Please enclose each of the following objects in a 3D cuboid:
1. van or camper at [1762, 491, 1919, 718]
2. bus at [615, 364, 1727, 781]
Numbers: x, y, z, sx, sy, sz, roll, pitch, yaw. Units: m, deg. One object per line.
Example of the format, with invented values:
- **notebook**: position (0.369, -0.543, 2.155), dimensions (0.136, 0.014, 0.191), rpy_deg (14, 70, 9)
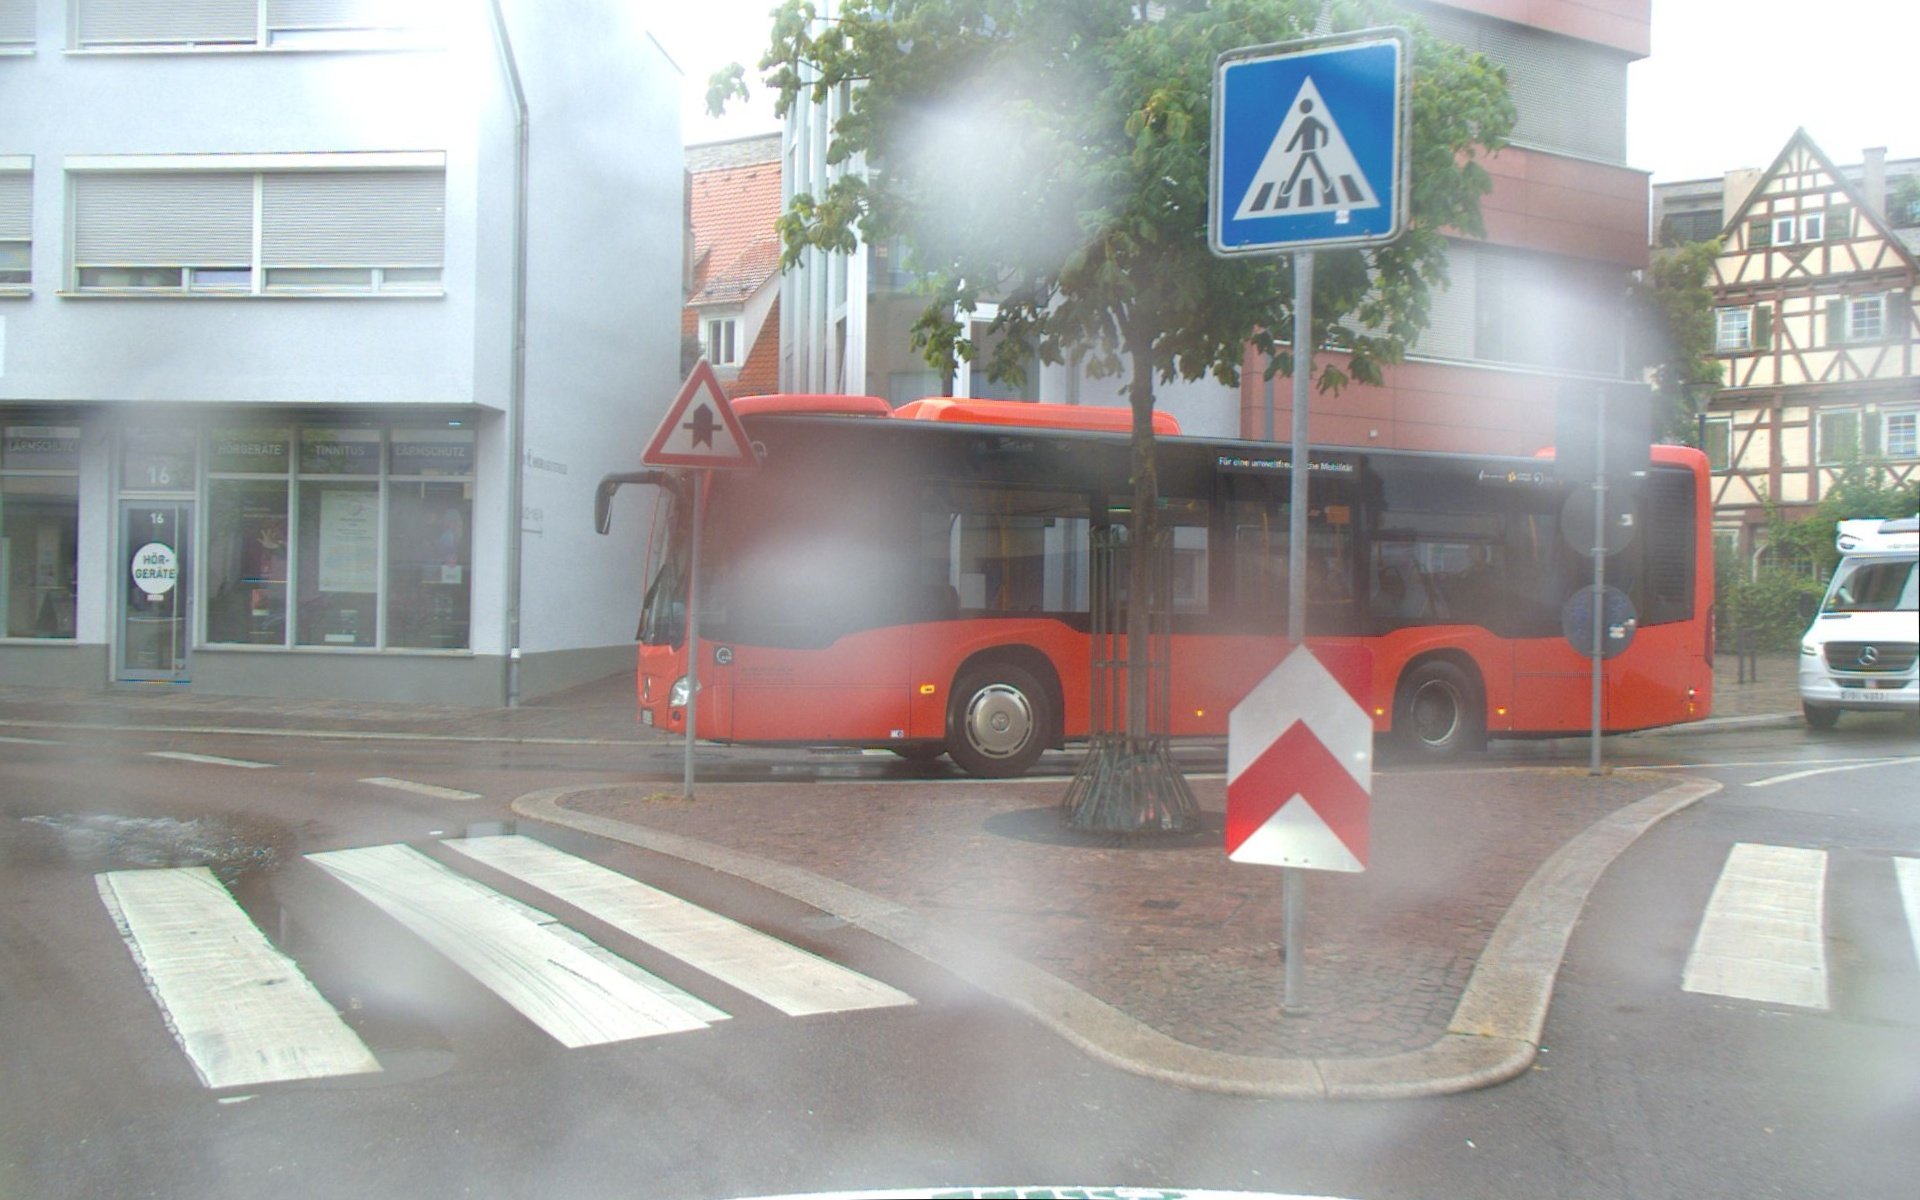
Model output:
- **van or camper**: position (13.169, 0.060, 21.857), dimensions (6.695, 2.631, 2.407), rpy_deg (0, 0, -43)
- **bus**: position (2.187, -0.166, 15.682), dimensions (10.421, 3.143, 2.804), rpy_deg (0, -2, -21)
